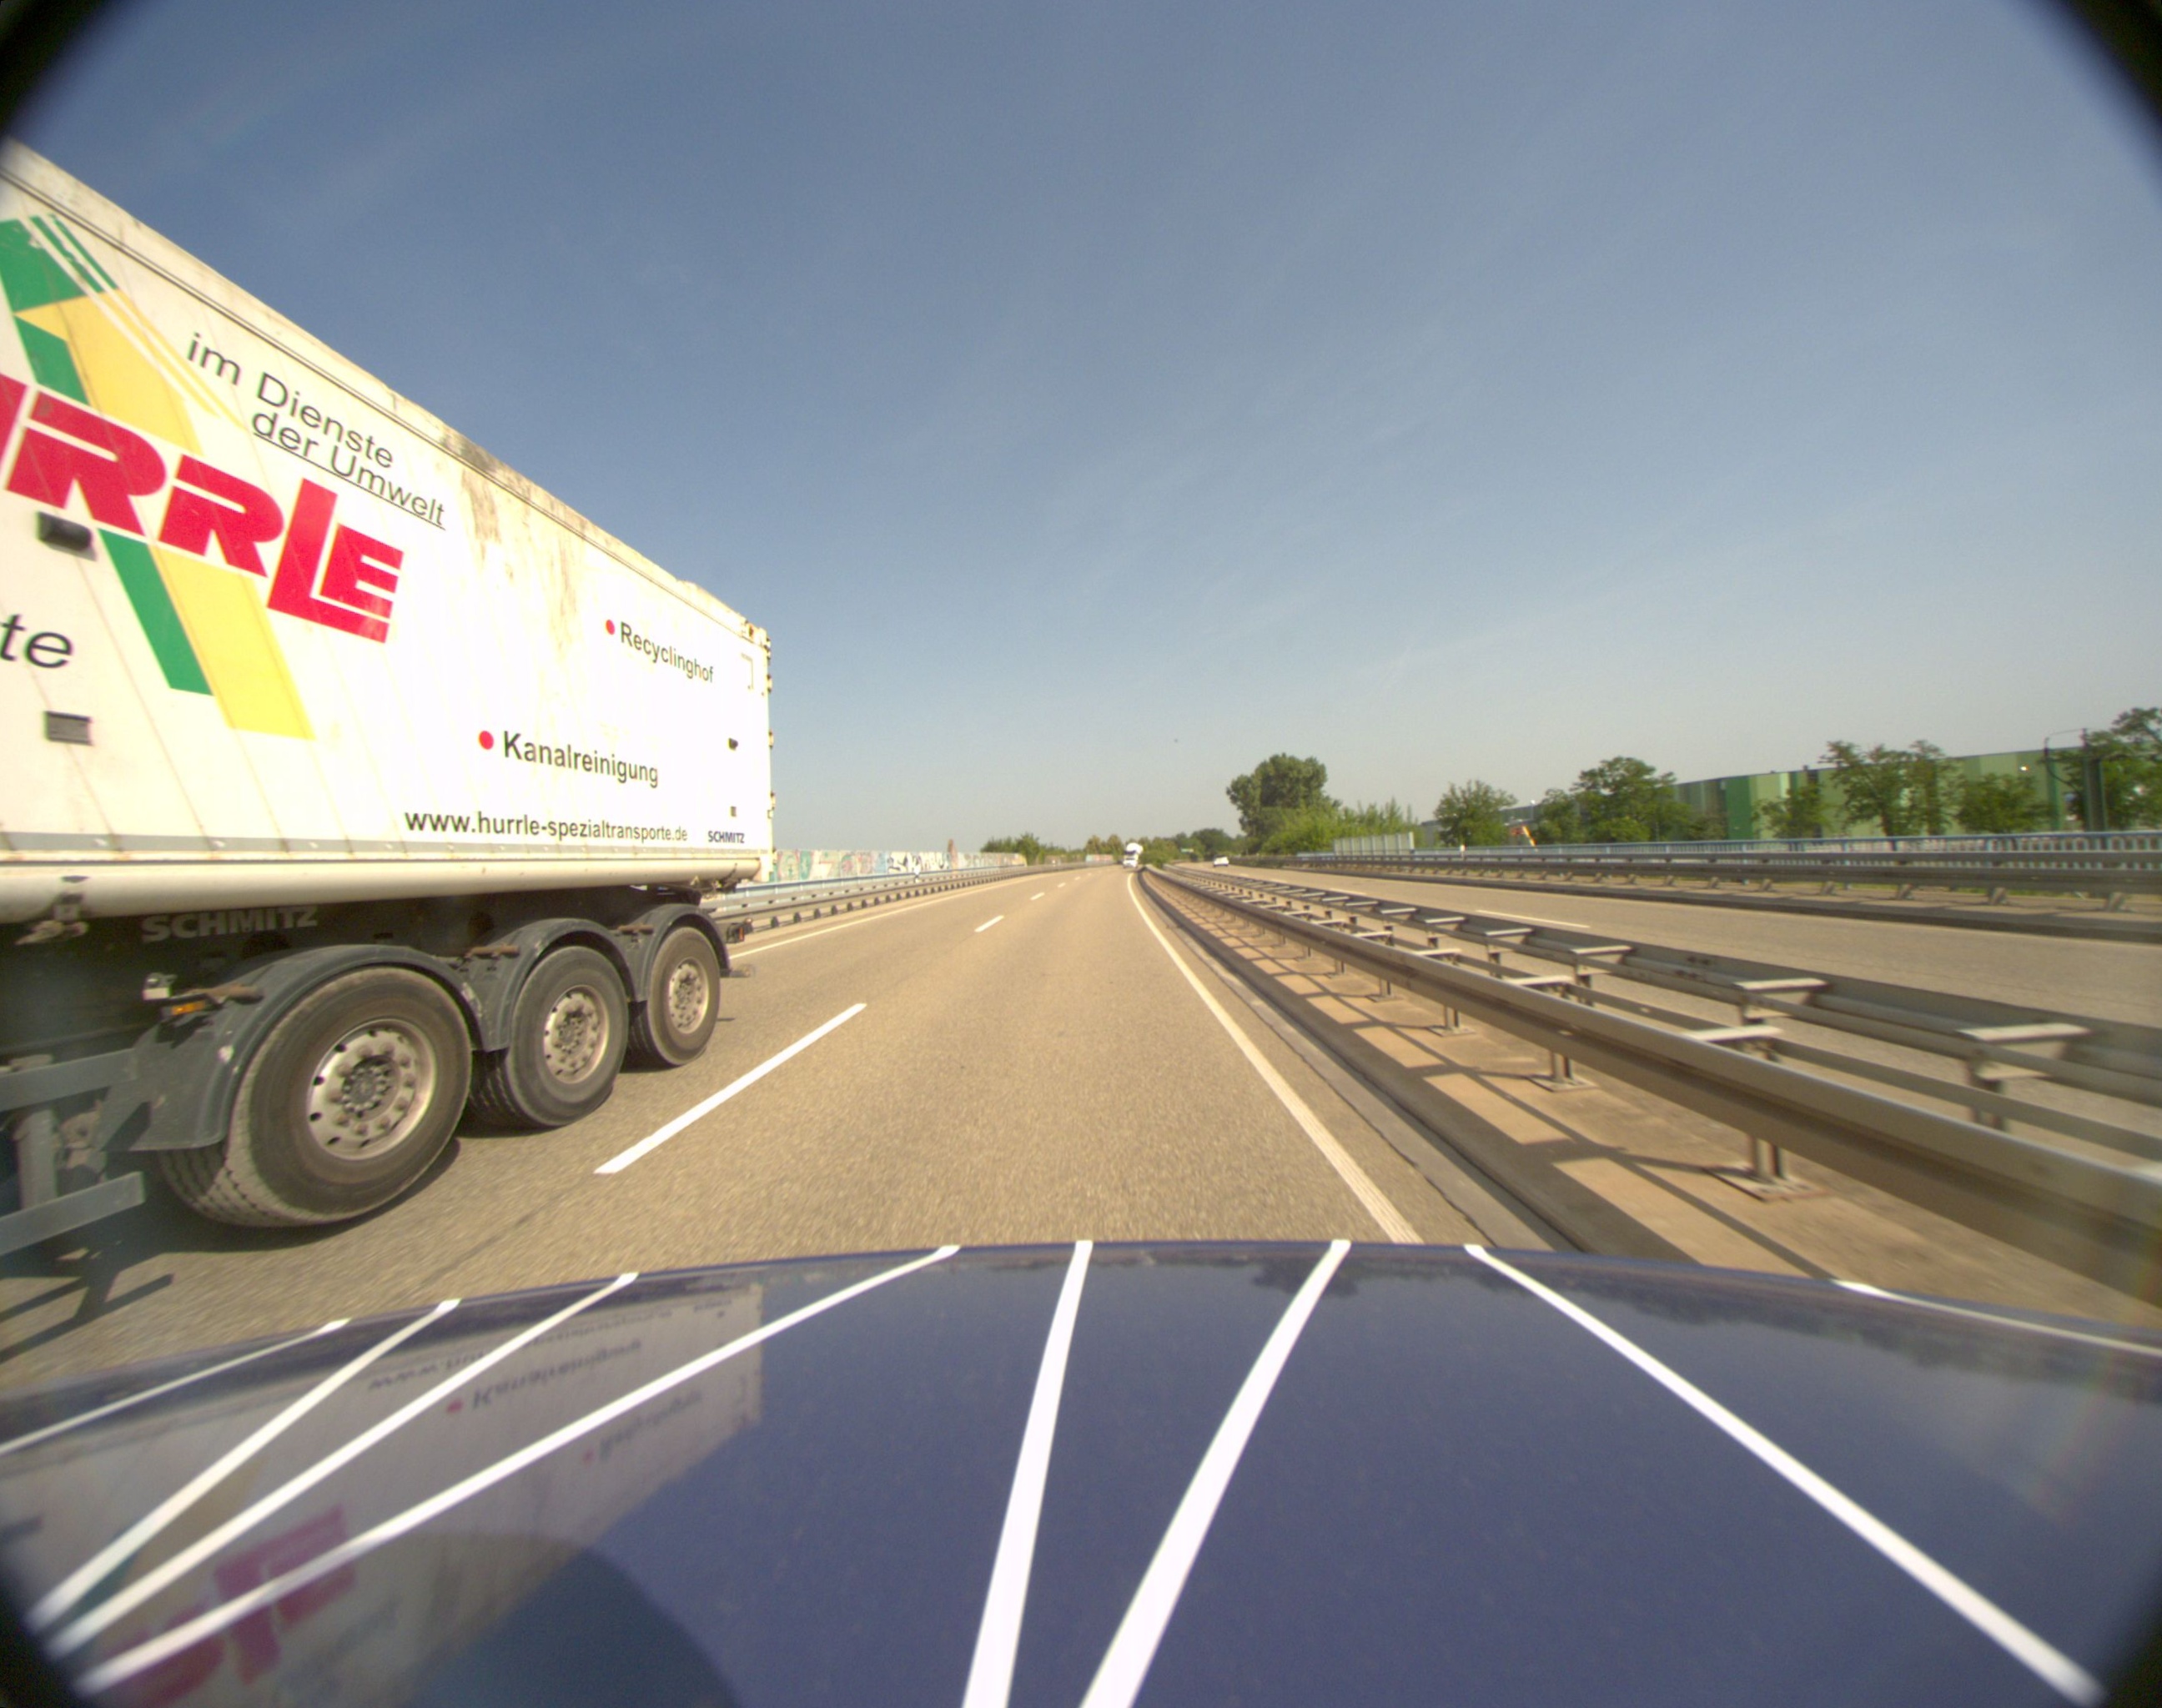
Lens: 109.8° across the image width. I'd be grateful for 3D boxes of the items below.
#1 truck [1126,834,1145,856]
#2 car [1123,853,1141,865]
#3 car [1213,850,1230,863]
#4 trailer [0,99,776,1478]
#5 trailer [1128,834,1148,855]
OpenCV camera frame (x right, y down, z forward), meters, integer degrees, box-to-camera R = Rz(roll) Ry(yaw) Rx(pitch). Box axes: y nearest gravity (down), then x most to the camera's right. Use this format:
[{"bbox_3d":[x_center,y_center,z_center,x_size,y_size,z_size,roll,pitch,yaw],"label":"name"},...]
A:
[{"bbox_3d":[10.044,-1.627,140.531,2.776,3.939,5.631,-2,1,10],"label":"truck"},{"bbox_3d":[6.710,0.686,99.408,1.788,1.427,4.003,-3,0,10],"label":"car"},{"bbox_3d":[17.073,0.310,92.606,1.651,1.494,4.001,-3,0,5],"label":"car"},{"bbox_3d":[-4.378,-0.180,2.456,2.686,3.884,9.672,-2,0,0],"label":"trailer"},{"bbox_3d":[11.004,-1.814,145.859,2.761,3.968,8.192,-2,1,11],"label":"trailer"}]
